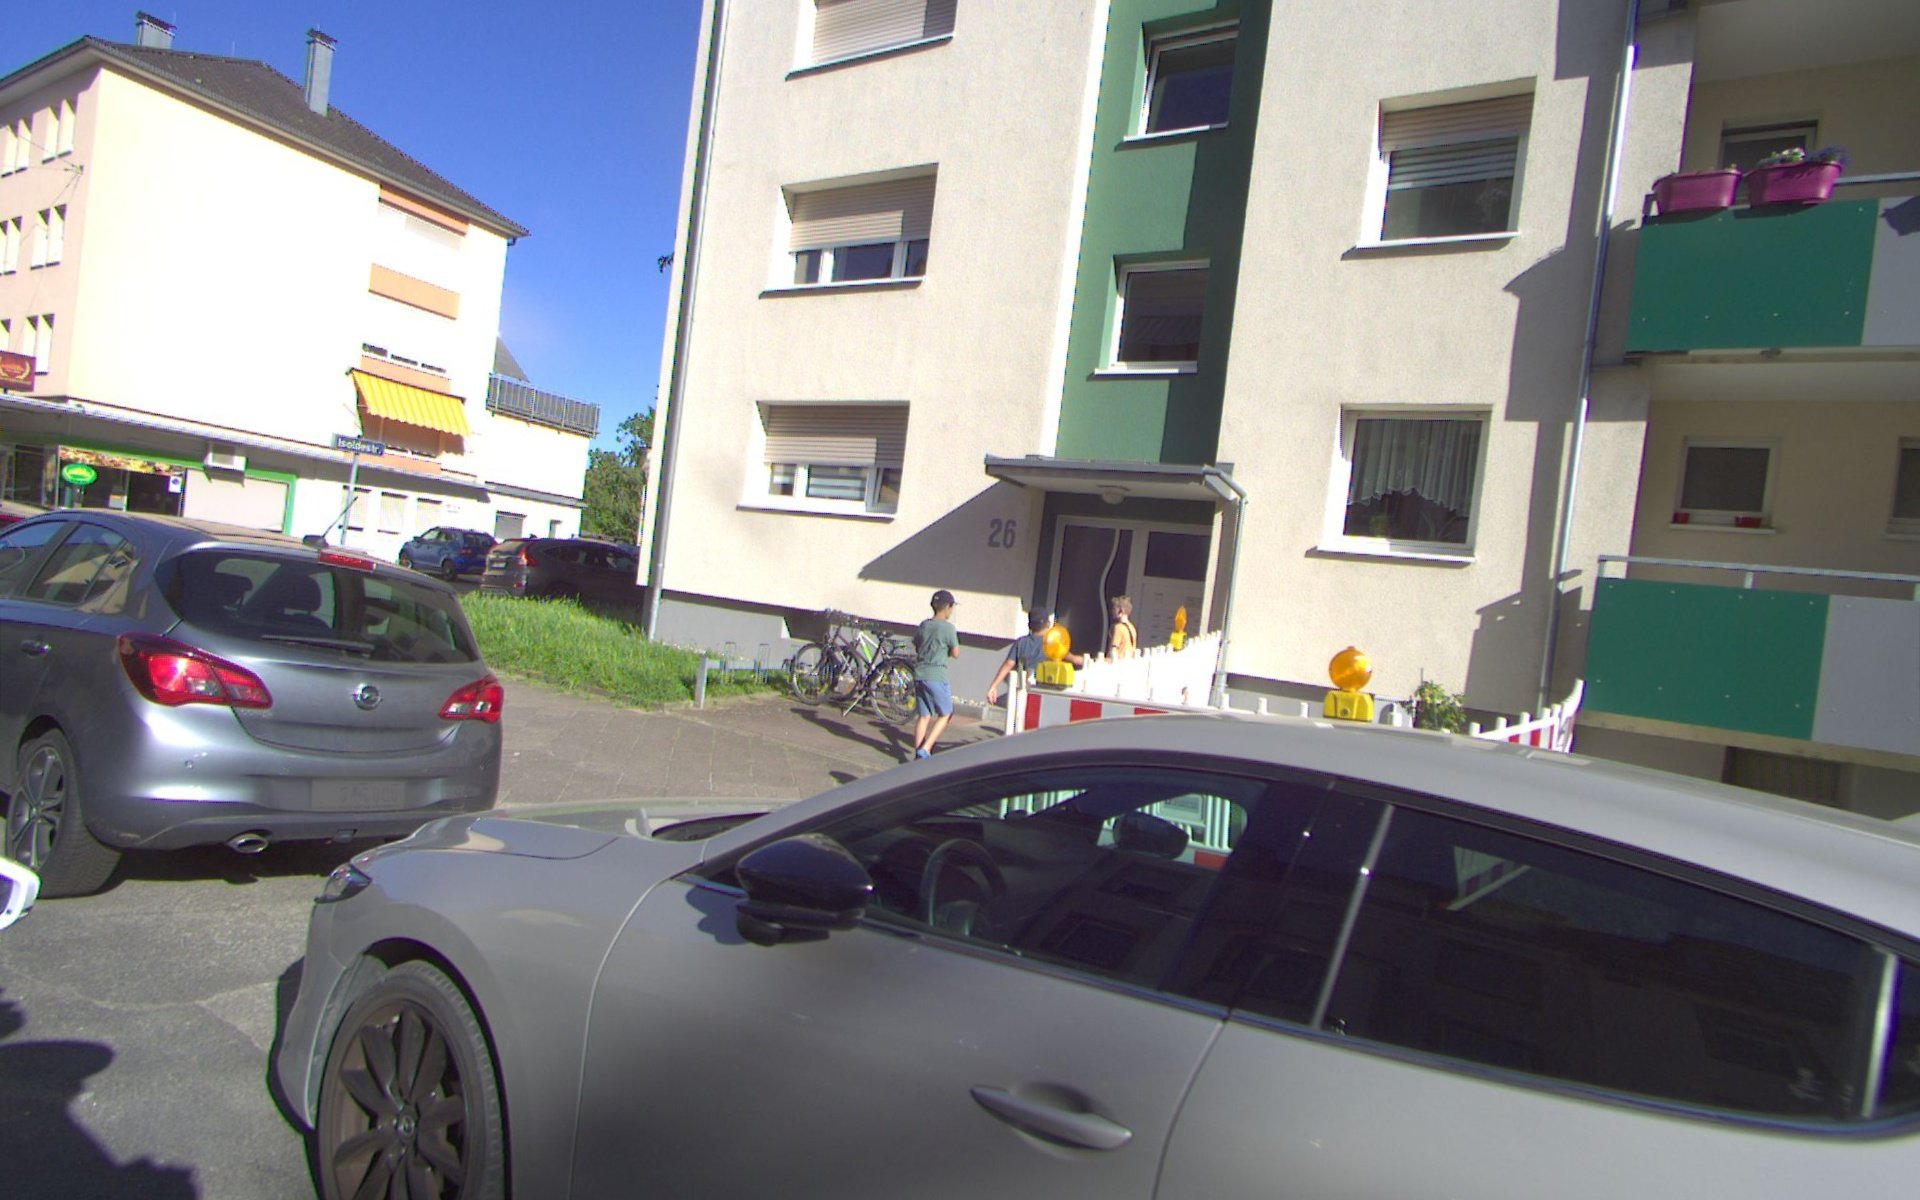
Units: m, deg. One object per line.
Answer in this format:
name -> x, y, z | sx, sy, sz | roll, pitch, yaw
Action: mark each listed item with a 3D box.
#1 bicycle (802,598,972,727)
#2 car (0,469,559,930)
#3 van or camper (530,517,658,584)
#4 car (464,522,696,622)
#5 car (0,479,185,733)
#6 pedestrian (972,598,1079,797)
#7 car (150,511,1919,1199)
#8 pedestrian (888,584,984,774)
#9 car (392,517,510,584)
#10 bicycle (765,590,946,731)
bicycle -> -0.817, 0.637, 10.868 | 1.866, 1.077, 0.445 | 9, 8, 32
car -> -4.039, 0.191, 4.984 | 3.872, 1.478, 1.647 | 7, 1, 29
van or camper -> -13.132, -1.777, 36.047 | 4.401, 1.837, 1.773 | 8, 2, 30
car -> -8.004, -0.536, 21.534 | 1.796, 1.634, 4.239 | 9, 2, 37
car -> -7.878, -0.211, 7.263 | 4.695, 1.543, 1.856 | 7, 1, 29
pedestrian -> 0.521, 0.742, 7.919 | 0.566, 1.453, 0.471 | 8, 4, 19
car -> 0.260, 0.844, 2.236 | 4.267, 1.487, 1.796 | 8, -2, 32
pedestrian -> -0.192, 0.626, 8.250 | 0.498, 1.453, 0.450 | 8, 4, 20
car -> -15.833, -1.537, 31.267 | 3.416, 1.634, 1.580 | 8, 2, 30
bicycle -> -1.117, 0.584, 10.445 | 1.866, 1.136, 0.559 | 9, 8, 32
